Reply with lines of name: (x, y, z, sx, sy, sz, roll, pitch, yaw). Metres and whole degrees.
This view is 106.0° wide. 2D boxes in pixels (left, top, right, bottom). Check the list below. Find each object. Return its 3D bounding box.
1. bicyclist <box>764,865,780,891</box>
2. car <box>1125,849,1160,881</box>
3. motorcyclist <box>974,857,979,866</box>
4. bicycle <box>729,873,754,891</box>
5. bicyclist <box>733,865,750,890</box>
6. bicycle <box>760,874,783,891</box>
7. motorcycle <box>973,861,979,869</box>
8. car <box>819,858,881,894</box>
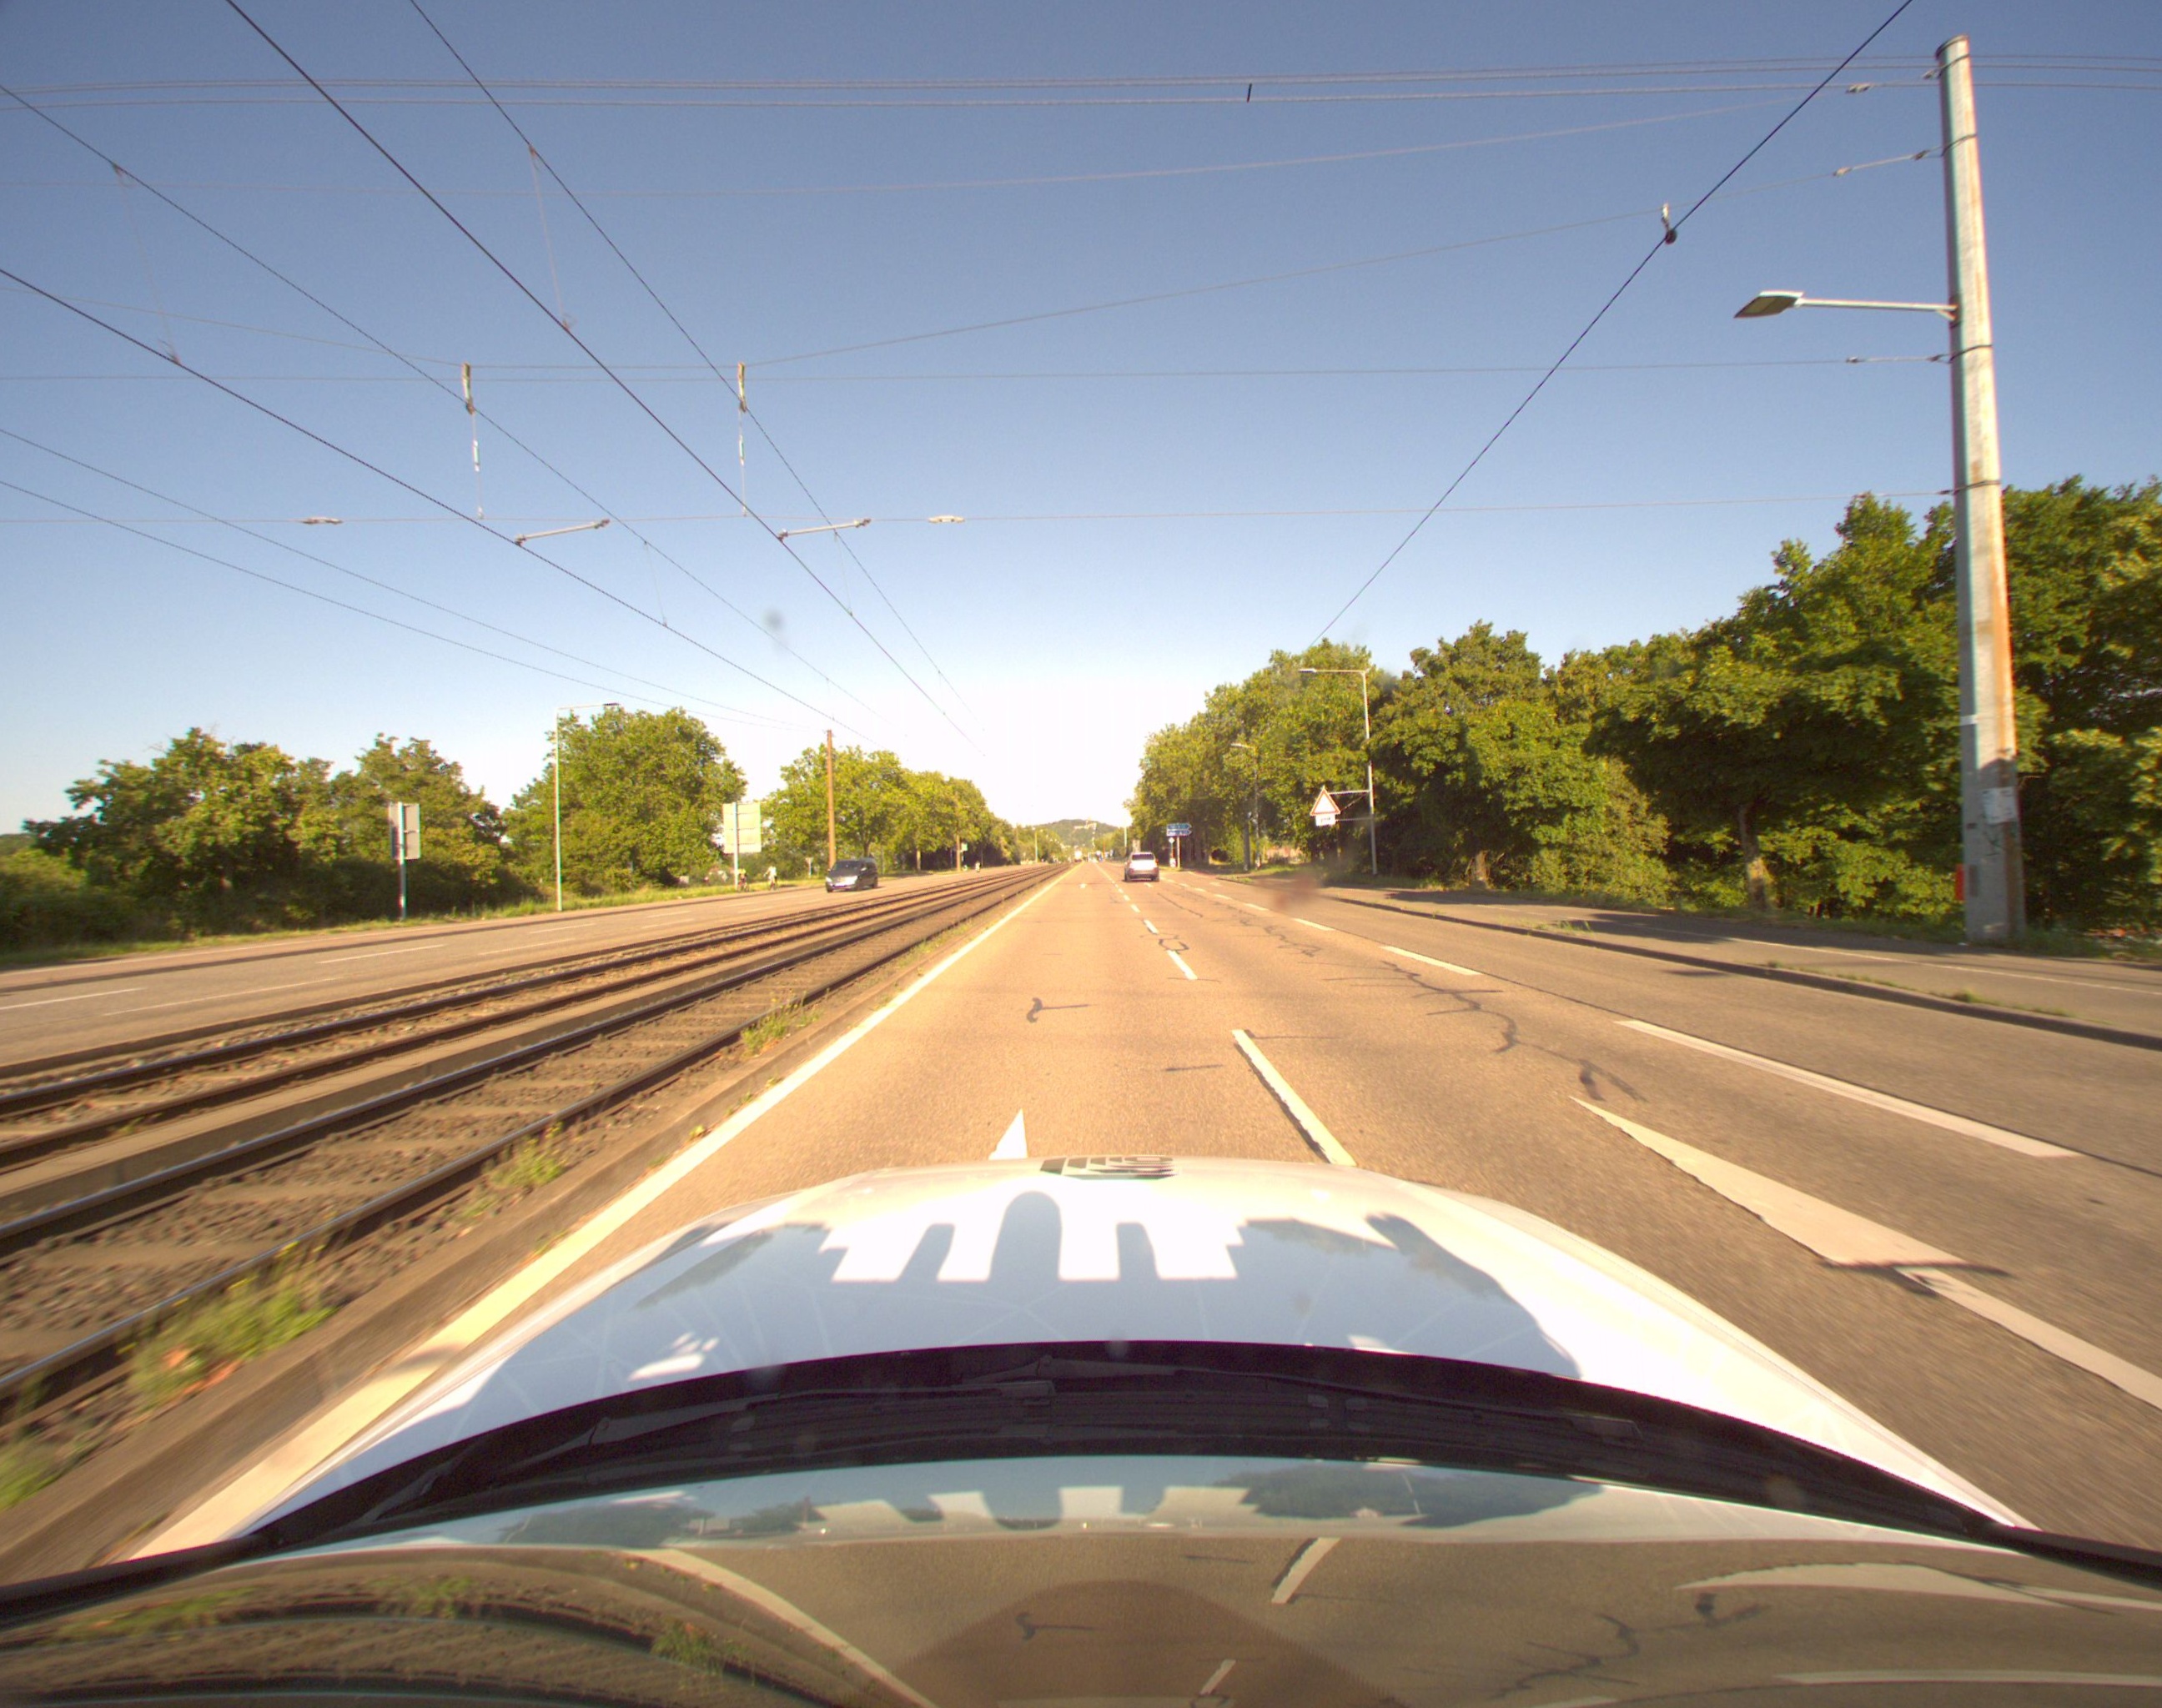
bicyclist: (-19.652, 1.500, 51.849, 0.588, 1.611, 0.967, -2, -1, 0)
car: (3.482, 0.634, 47.055, 1.880, 1.693, 4.259, -1, -1, 3)
motorcyclist: (-13.802, 1.009, 107.337, 0.534, 1.270, 0.805, 0, -1, 0)
bicycle: (-20.790, 1.703, 49.898, 0.588, 1.022, 2.185, -2, -1, 0)
bicyclist: (-20.796, 1.427, 49.919, 0.588, 1.528, 0.906, -2, -1, 0)
bicycle: (-19.648, 1.803, 51.769, 0.588, 1.022, 2.185, -2, -1, 0)
motorcycle: (-13.806, 1.412, 107.289, 0.534, 1.091, 1.902, 0, -1, 0)
car: (-13.311, 1.222, 47.319, 1.986, 1.923, 4.862, -2, -1, 2)
